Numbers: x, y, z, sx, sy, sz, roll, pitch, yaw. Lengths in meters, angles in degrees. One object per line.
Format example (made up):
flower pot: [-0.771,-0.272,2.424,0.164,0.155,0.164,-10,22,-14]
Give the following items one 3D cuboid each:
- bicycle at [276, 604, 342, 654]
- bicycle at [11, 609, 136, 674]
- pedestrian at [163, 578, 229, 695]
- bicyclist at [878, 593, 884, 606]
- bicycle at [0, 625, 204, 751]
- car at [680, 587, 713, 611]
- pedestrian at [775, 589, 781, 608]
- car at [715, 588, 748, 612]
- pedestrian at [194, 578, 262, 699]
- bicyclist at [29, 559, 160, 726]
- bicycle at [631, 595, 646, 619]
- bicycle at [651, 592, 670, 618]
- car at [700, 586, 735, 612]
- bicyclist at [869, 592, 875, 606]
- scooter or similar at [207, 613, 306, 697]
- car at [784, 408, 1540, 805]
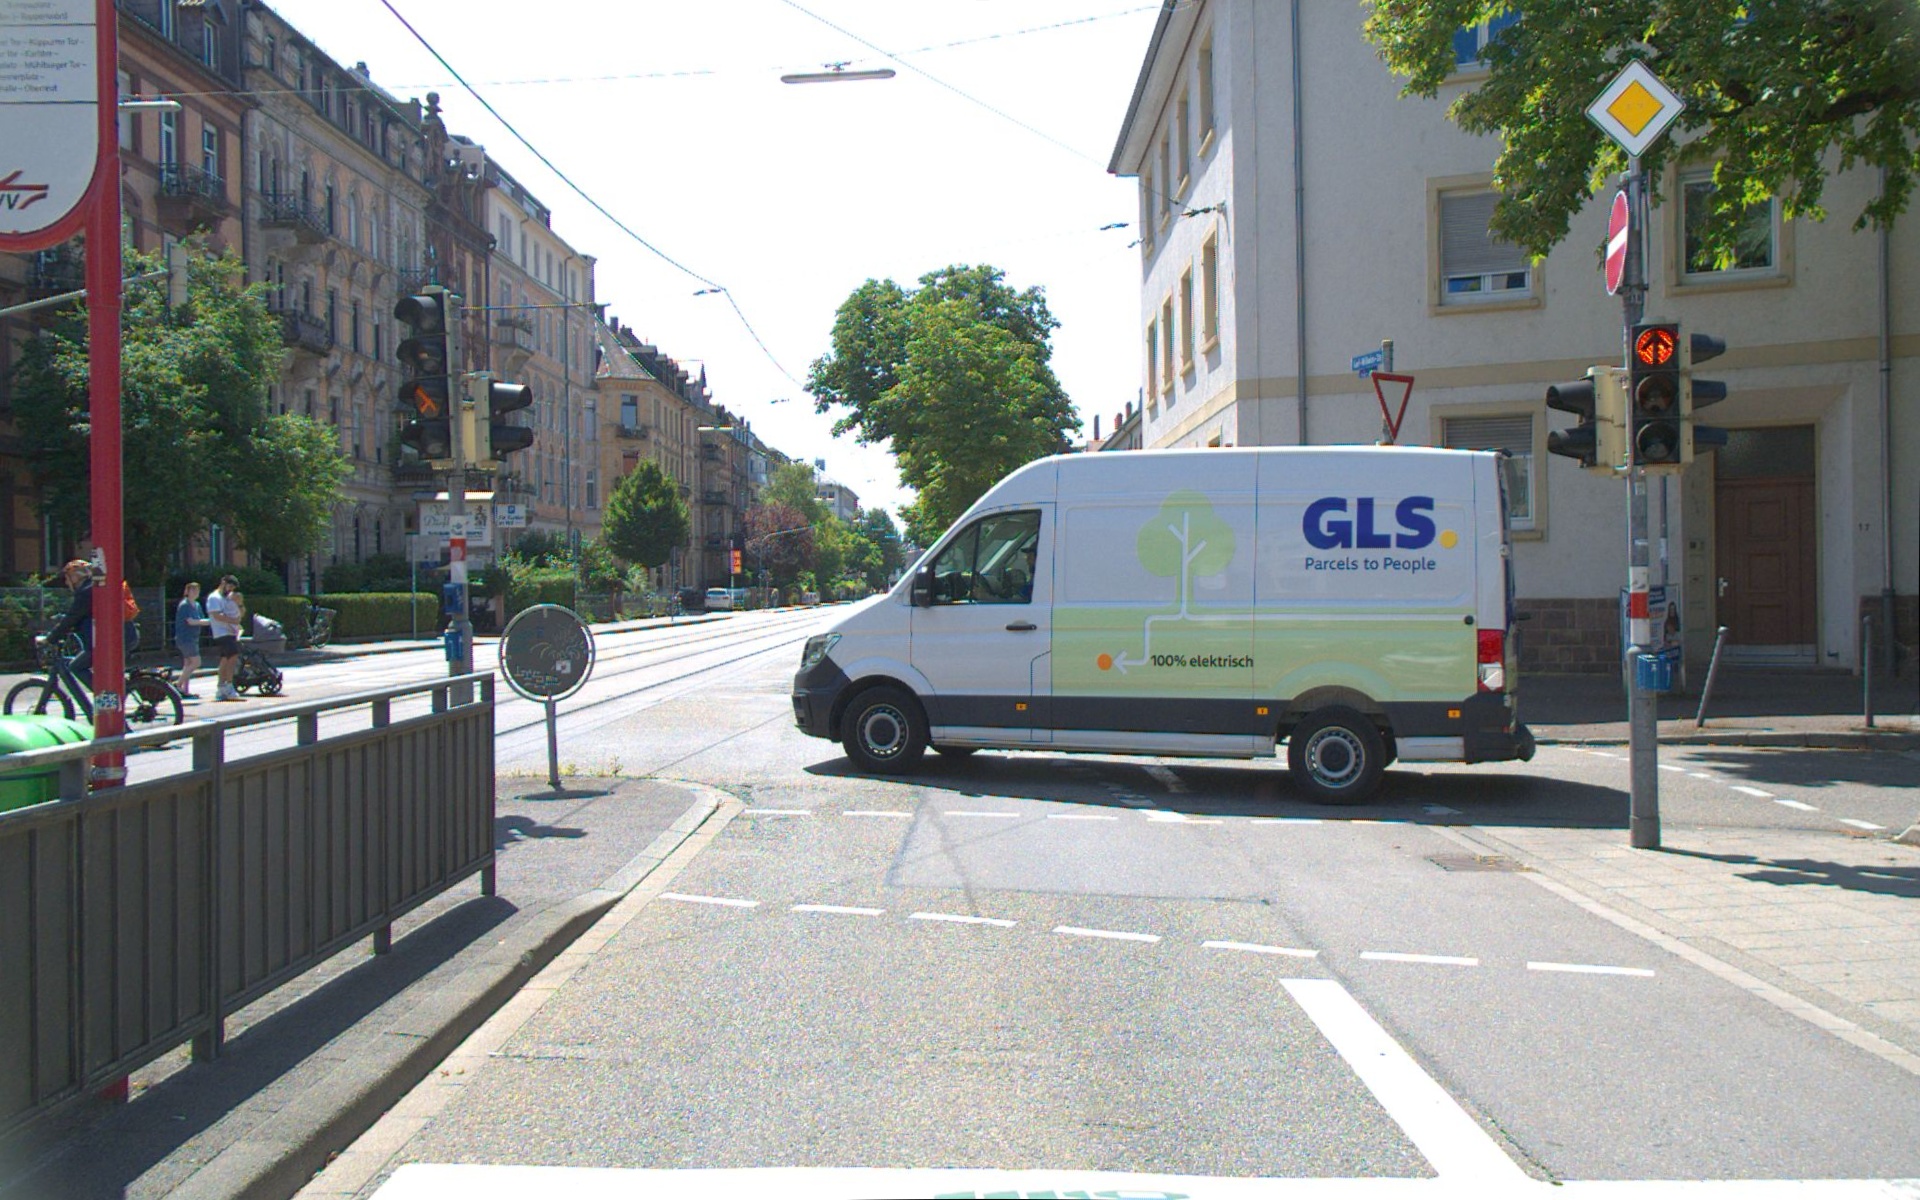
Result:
bicycle: [-15.911,0.695,40.499,0.920,1.156,2.767,1,0,-9]
bicycle: [-16.715,0.755,31.292,0.918,1.156,2.773,1,0,-2]
pedestrian: [-11.156,0.529,24.169,0.661,1.674,0.559,1,-1,4]
bicyclist: [-11.097,-0.054,233.171,0.712,1.850,1.079,1,0,1]
bicycle: [-8.475,0.849,16.140,1.881,1.193,0.648,0,-1,0]
car: [-19.683,-0.068,123.595,1.880,1.745,3.999,1,0,-1]
pedestrian: [-14.278,-0.117,129.469,0.398,1.486,0.436,-1,0,-1]
car: [-17.051,-0.022,123.562,1.880,1.745,3.999,1,0,-1]
pedestrian: [-10.308,0.540,23.294,0.661,1.674,0.559,1,-1,4]
bicyclist: [-8.398,0.404,16.081,0.877,1.589,0.722,0,-1,0]
bicycle: [-15.504,0.334,79.776,0.665,1.083,1.913,-1,0,-12]
bicycle: [-15.282,0.248,84.423,0.664,1.301,1.917,-1,0,-4]
car: [-16.882,-0.054,115.300,1.880,1.745,3.999,1,0,-1]
bicyclist: [-11.761,-0.113,221.676,0.712,1.799,1.079,1,0,1]
scooter or similar: [-10.244,0.794,24.104,1.176,1.175,0.559,1,-1,4]
car: [1.654,0.011,13.401,5.689,2.720,2.274,1,0,20]
